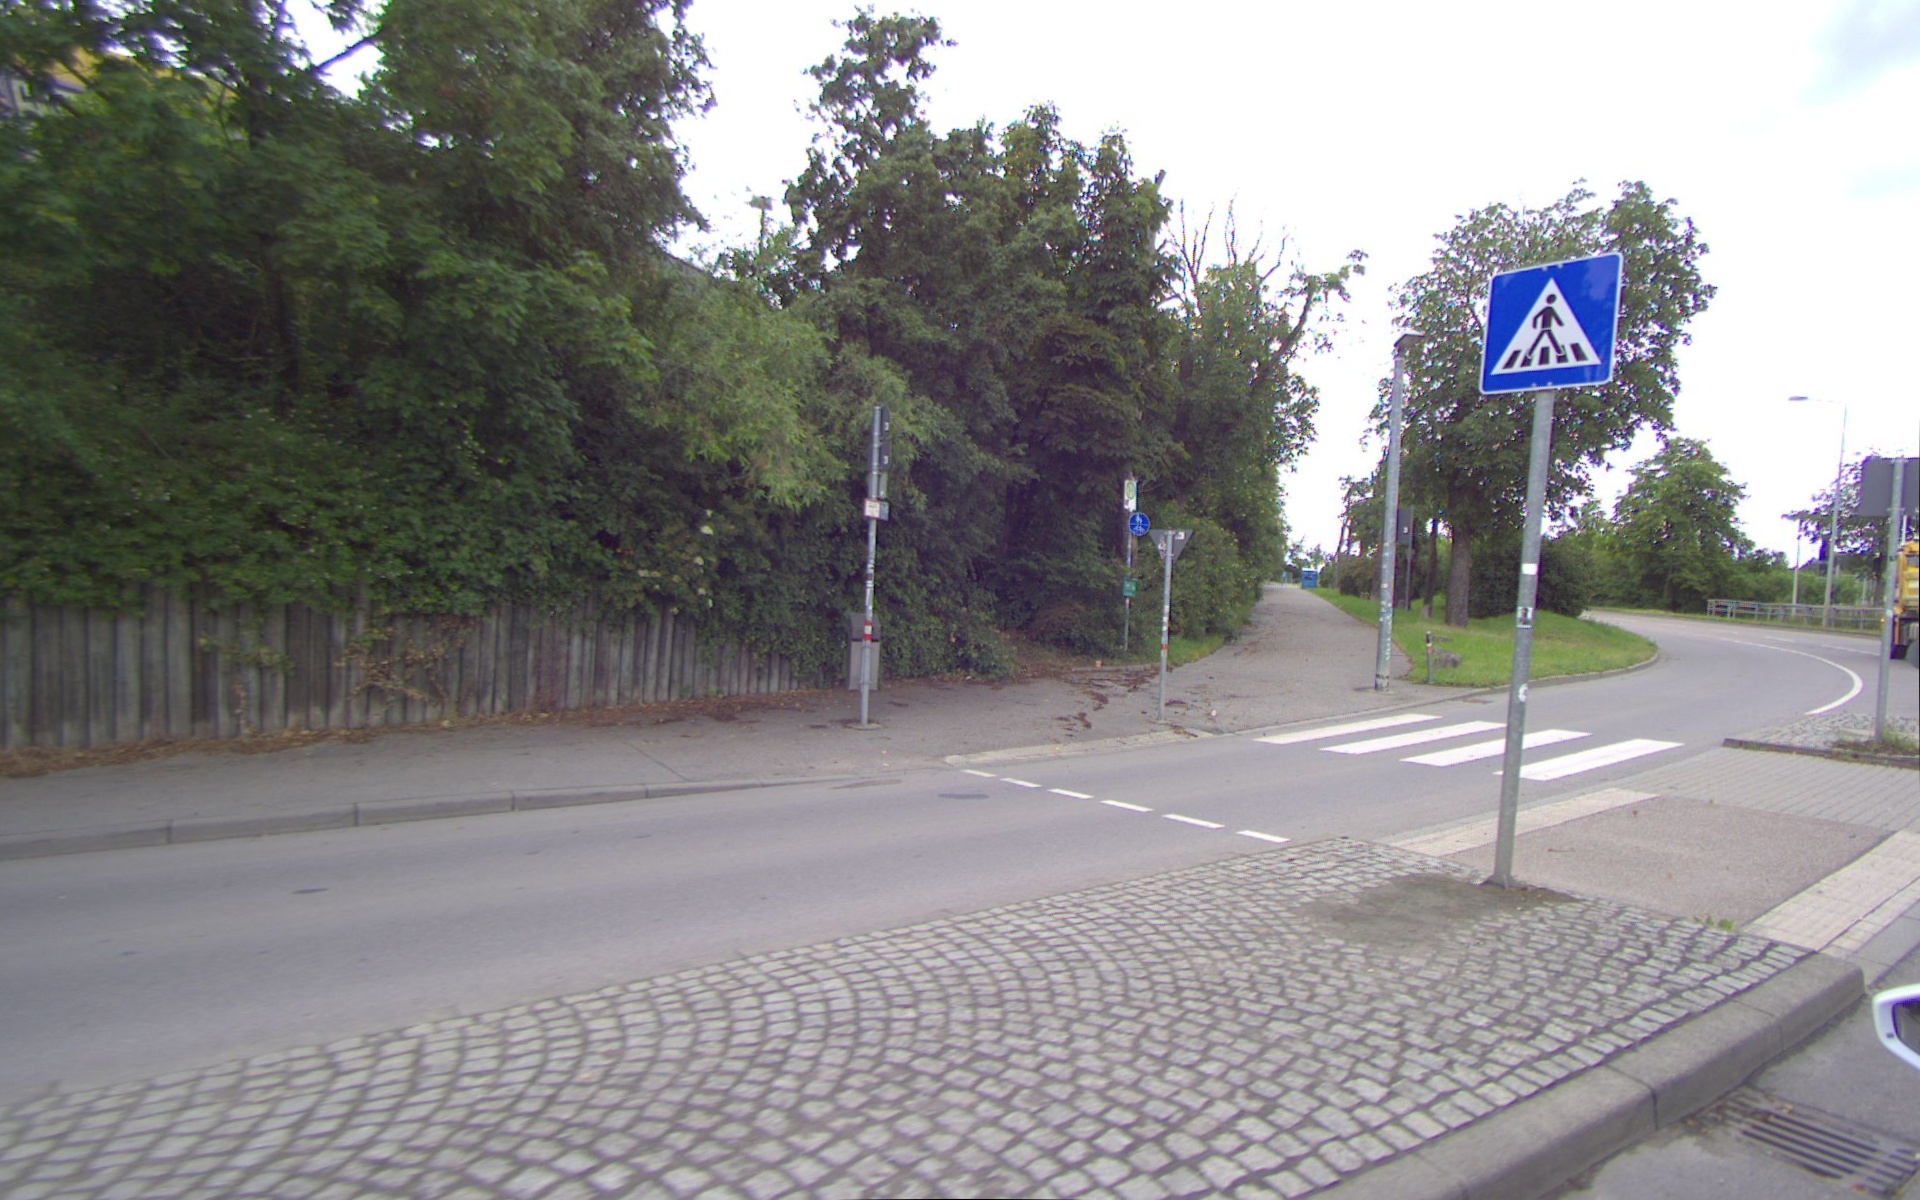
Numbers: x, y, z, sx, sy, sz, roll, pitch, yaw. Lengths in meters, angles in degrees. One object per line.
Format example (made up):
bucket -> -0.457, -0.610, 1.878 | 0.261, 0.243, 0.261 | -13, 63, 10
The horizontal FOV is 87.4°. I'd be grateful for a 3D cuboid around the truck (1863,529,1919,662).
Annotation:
truck -> 27.394, -0.115, 27.172 | 2.725, 3.531, 8.110 | 2, 2, 31
